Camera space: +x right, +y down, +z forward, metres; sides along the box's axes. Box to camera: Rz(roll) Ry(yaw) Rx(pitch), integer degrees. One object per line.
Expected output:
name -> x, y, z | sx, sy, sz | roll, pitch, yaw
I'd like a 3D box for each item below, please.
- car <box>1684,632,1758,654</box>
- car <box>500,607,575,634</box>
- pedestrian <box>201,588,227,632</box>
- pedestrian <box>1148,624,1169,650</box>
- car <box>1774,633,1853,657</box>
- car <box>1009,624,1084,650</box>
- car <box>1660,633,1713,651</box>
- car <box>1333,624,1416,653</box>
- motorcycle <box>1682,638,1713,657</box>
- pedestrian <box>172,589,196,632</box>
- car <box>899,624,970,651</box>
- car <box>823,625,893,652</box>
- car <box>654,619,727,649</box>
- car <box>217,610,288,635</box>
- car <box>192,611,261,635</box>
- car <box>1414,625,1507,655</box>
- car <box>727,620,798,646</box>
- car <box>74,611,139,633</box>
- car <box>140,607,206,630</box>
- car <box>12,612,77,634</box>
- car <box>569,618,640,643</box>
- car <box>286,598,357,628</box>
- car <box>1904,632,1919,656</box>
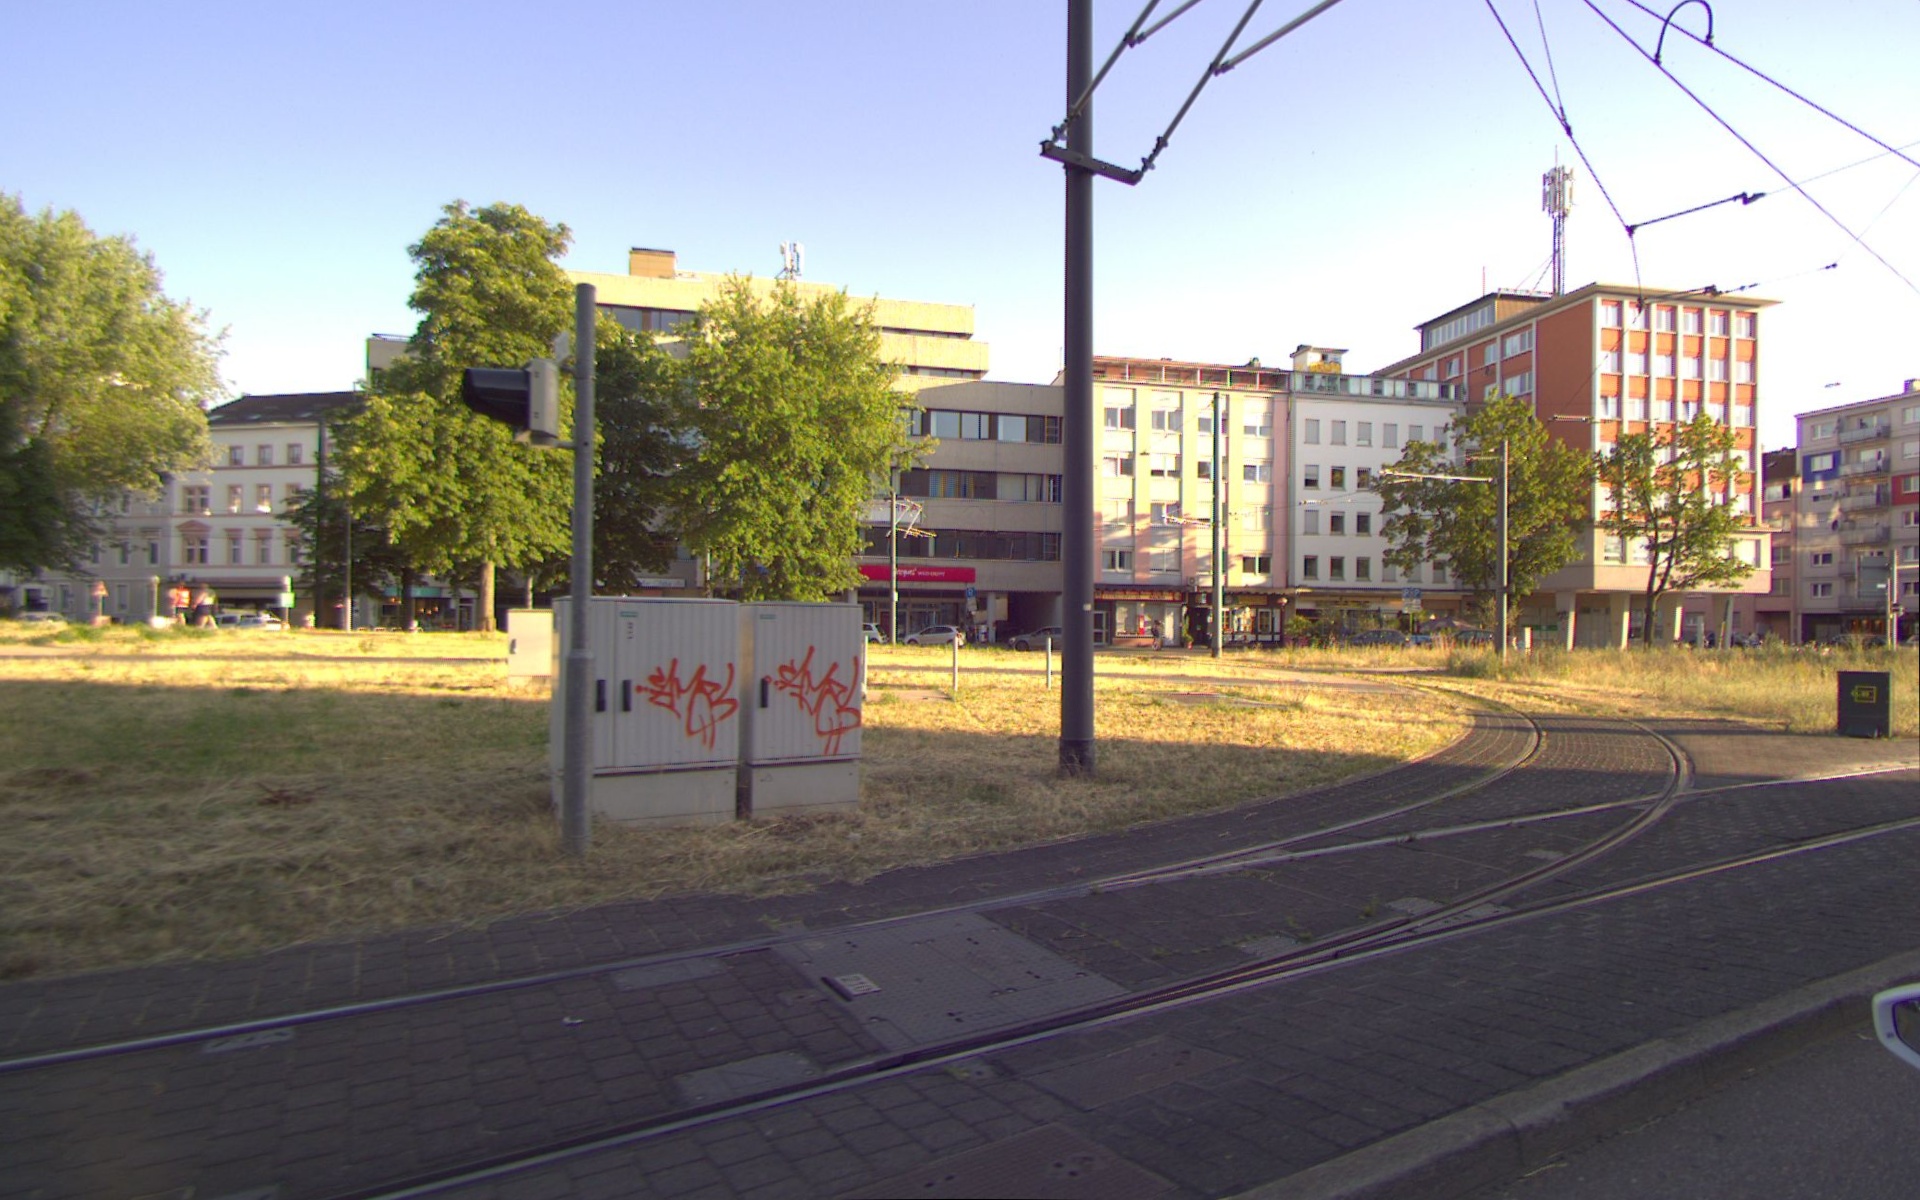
car -> 58.976, 3.318, 77.941 | 1.956, 1.606, 4.279 | 0, -1, -16
car -> -26.505, 1.292, 63.075 | 3.986, 1.577, 1.867 | -1, -1, 11
pedestrian -> -27.532, 0.371, 37.066 | 0.543, 1.601, 0.619 | 0, -1, -10
pedestrian -> 12.160, 2.272, 61.462 | 0.839, 1.548, 1.119 | 0, -1, -14
car -> 59.870, 3.146, 70.547 | 1.774, 1.606, 3.864 | 0, -1, -16
car -> 4.770, 2.034, 55.484 | 3.919, 1.408, 1.712 | -1, -1, 13
car -> 70.611, 4.074, 97.714 | 1.774, 1.606, 3.864 | 0, -1, -16
car -> 22.856, 2.113, 55.471 | 3.919, 1.547, 1.761 | -1, -1, 11
motorcycle -> 42.784, 2.763, 58.266 | 0.522, 1.082, 1.451 | 0, -1, -12
pedestrian -> -27.969, 0.365, 36.214 | 0.543, 1.532, 0.453 | 0, -1, -10
car -> -1.512, 2.249, 60.066 | 3.919, 1.572, 1.761 | -1, -1, 14
car -> -6.224, 2.331, 61.320 | 3.919, 1.572, 1.761 | -1, -1, 11
car -> -17.180, 2.155, 64.071 | 4.124, 1.818, 1.761 | -1, -1, 11
car -> -47.513, 1.530, 67.500 | 3.919, 1.601, 1.798 | -1, -1, 15
car -> -52.302, 1.641, 71.634 | 3.919, 1.686, 1.761 | -1, -1, 11
car -> 27.092, 2.153, 54.486 | 4.205, 1.547, 1.761 | -1, -1, 11
car -> -12.269, 2.050, 62.429 | 3.919, 1.572, 1.761 | -1, -1, 11
car -> -63.350, 1.635, 74.566 | 3.919, 1.601, 1.798 | -1, -1, 15
car -> -57.276, 1.342, 73.111 | 3.919, 1.601, 1.798 | -1, -1, 15
car -> -69.319, 1.740, 76.064 | 3.919, 1.601, 1.798 | -1, -1, 15
car -> -23.310, 1.998, 65.923 | 3.986, 1.577, 1.867 | -1, -1, 11
car -> -44.499, 0.919, 70.036 | 4.124, 1.970, 1.761 | -1, -1, 11
car -> 66.863, 3.007, 68.029 | 1.774, 1.606, 3.864 | 0, -1, -16
